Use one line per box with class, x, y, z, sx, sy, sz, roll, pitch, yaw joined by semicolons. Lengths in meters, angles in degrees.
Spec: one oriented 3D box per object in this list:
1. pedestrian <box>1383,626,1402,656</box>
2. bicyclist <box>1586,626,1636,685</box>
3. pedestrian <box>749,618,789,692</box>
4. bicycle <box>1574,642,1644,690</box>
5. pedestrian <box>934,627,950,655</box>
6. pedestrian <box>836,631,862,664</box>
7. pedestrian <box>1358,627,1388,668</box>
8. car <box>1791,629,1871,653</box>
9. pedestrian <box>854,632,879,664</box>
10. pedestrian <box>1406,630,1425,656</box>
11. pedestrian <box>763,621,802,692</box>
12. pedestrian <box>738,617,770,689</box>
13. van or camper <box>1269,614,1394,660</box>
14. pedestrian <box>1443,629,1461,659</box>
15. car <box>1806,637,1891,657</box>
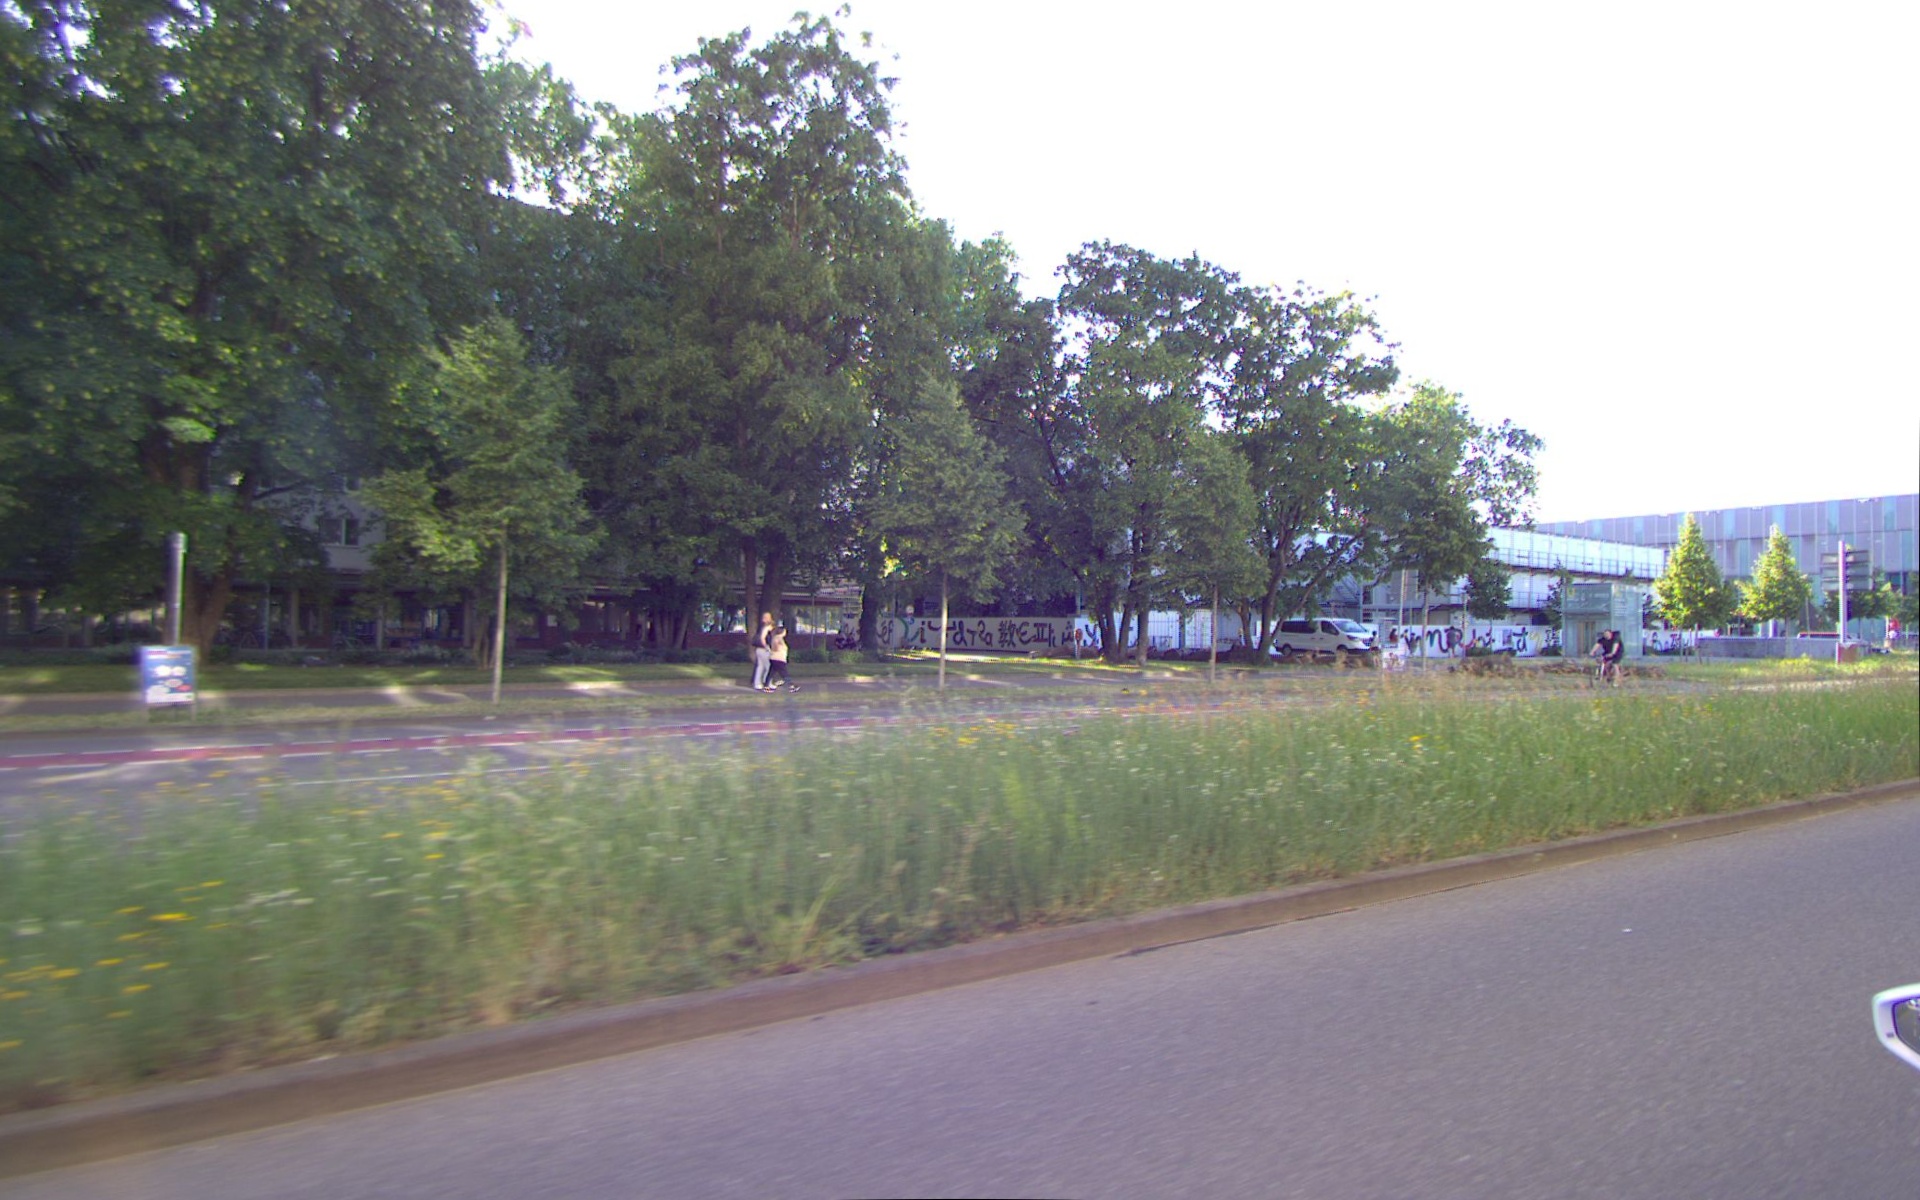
pedestrian;23.313;2.209;54.099;0.826;1.578;0.576;1;-1;-32
bicyclist;18.394;1.572;28.402;1.188;1.611;0.743;3;-3;-30
pedestrian;-4.671;1.337;24.549;0.751;1.763;0.769;1;-1;-26
bicycle;18.315;1.863;28.349;2.232;1.291;0.754;4;-3;-30
pedestrian;-1.080;2.429;60.189;0.734;1.662;0.722;1;-1;-24
pedestrian;-5.322;2.259;48.068;0.886;1.560;0.895;2;-2;-37
pedestrian;15.875;1.818;38.615;0.929;1.548;0.611;1;-1;-25
car;70.337;3.299;81.187;1.855;1.833;4.606;4;-4;-37
pedestrian;-4.534;2.314;48.619;0.886;1.560;0.895;2;-2;-37
pedestrian;24.192;2.272;53.384;0.826;1.396;0.576;1;-1;-32
pedestrian;-4.216;1.326;23.878;0.717;1.662;0.740;1;-1;-26
pedestrian;-5.143;1.309;25.067;0.646;1.763;0.522;1;-1;-26
van or camper;17.928;1.793;48.808;2.230;2.040;5.641;3;-3;-28
pedestrian;28.080;2.483;57.300;0.826;1.711;0.576;1;-1;-32
car;67.789;3.552;76.698;1.855;1.392;4.606;4;-4;-37
